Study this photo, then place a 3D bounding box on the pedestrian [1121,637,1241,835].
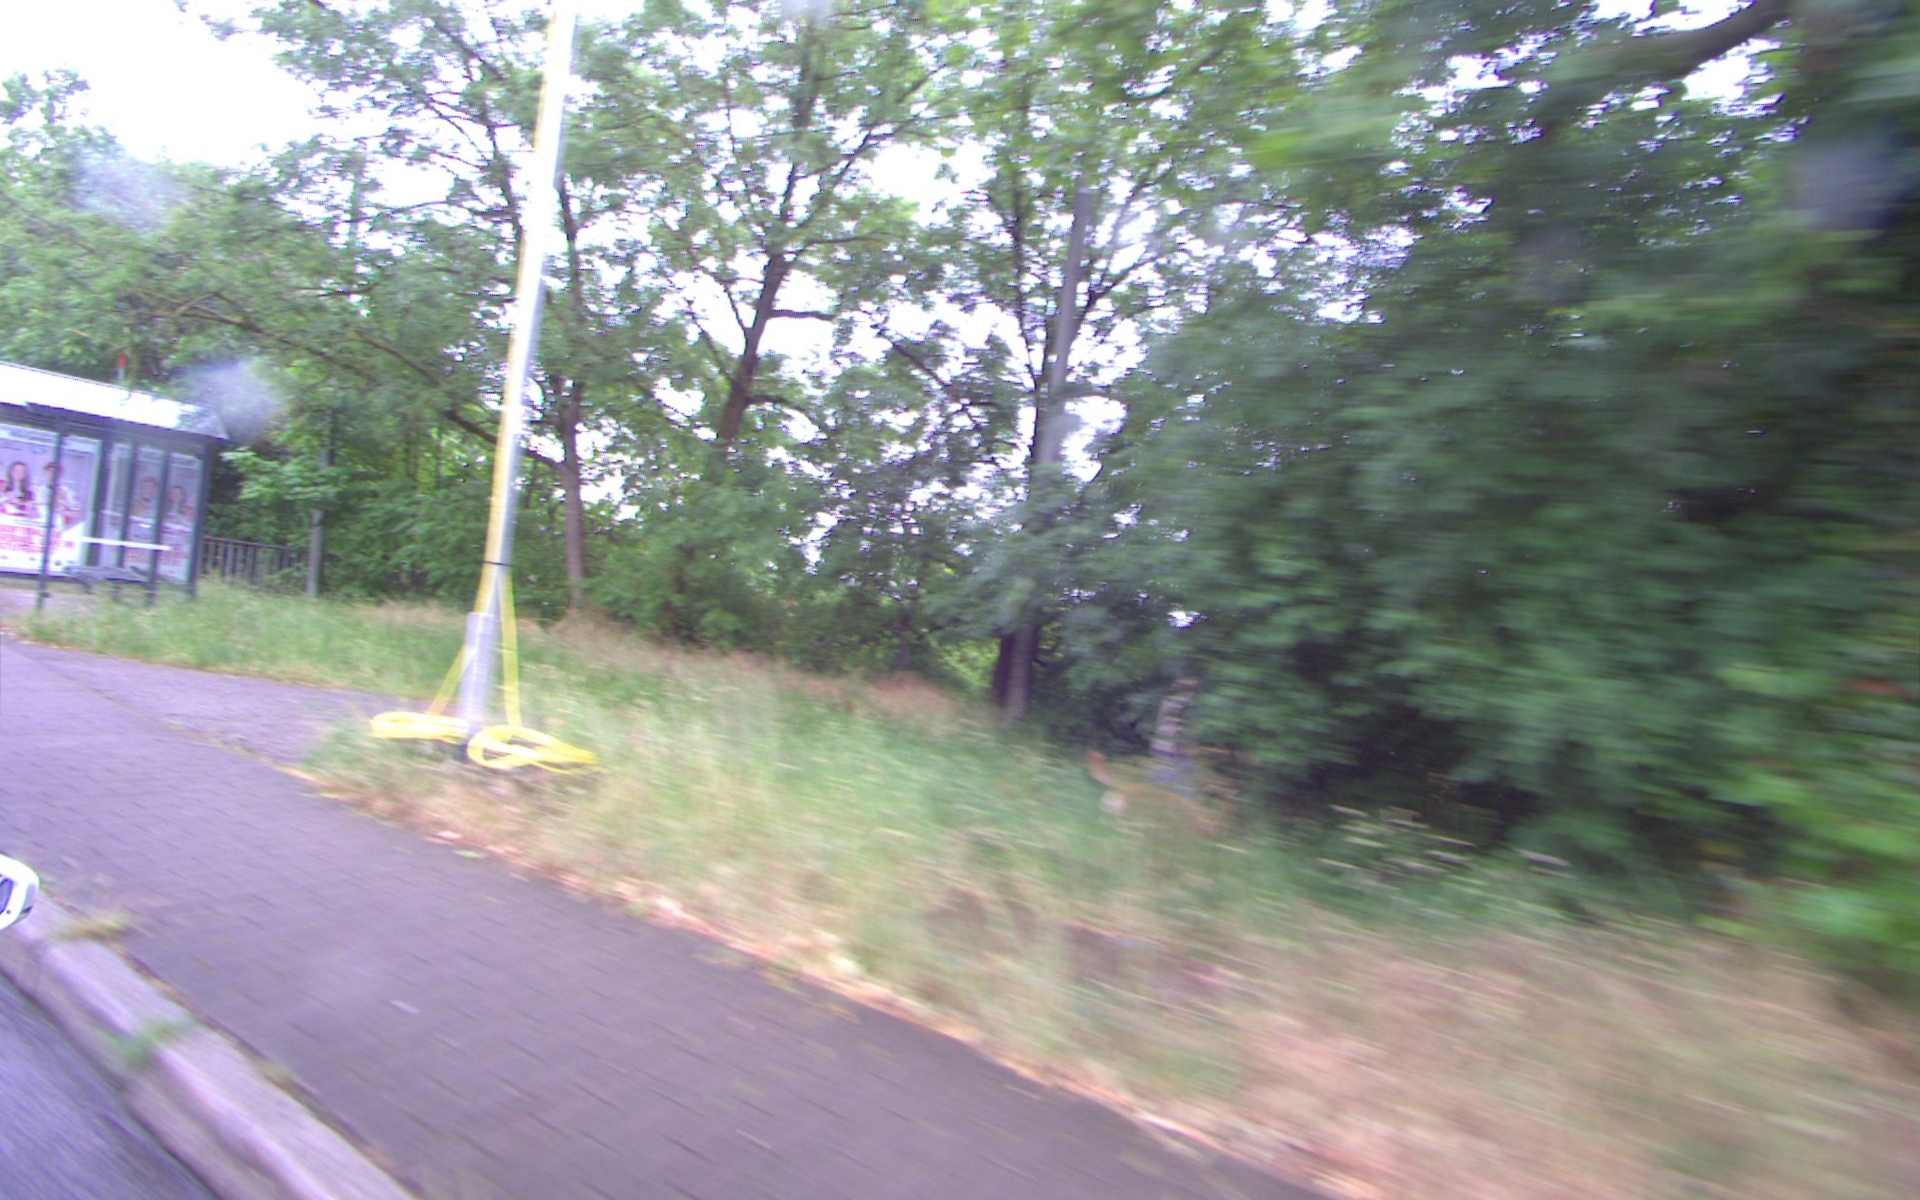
[{"bbox_3d":[1.968,1.188,9.056,0.738,1.622,0.733,7,-1,1],"label":"pedestrian"}]
